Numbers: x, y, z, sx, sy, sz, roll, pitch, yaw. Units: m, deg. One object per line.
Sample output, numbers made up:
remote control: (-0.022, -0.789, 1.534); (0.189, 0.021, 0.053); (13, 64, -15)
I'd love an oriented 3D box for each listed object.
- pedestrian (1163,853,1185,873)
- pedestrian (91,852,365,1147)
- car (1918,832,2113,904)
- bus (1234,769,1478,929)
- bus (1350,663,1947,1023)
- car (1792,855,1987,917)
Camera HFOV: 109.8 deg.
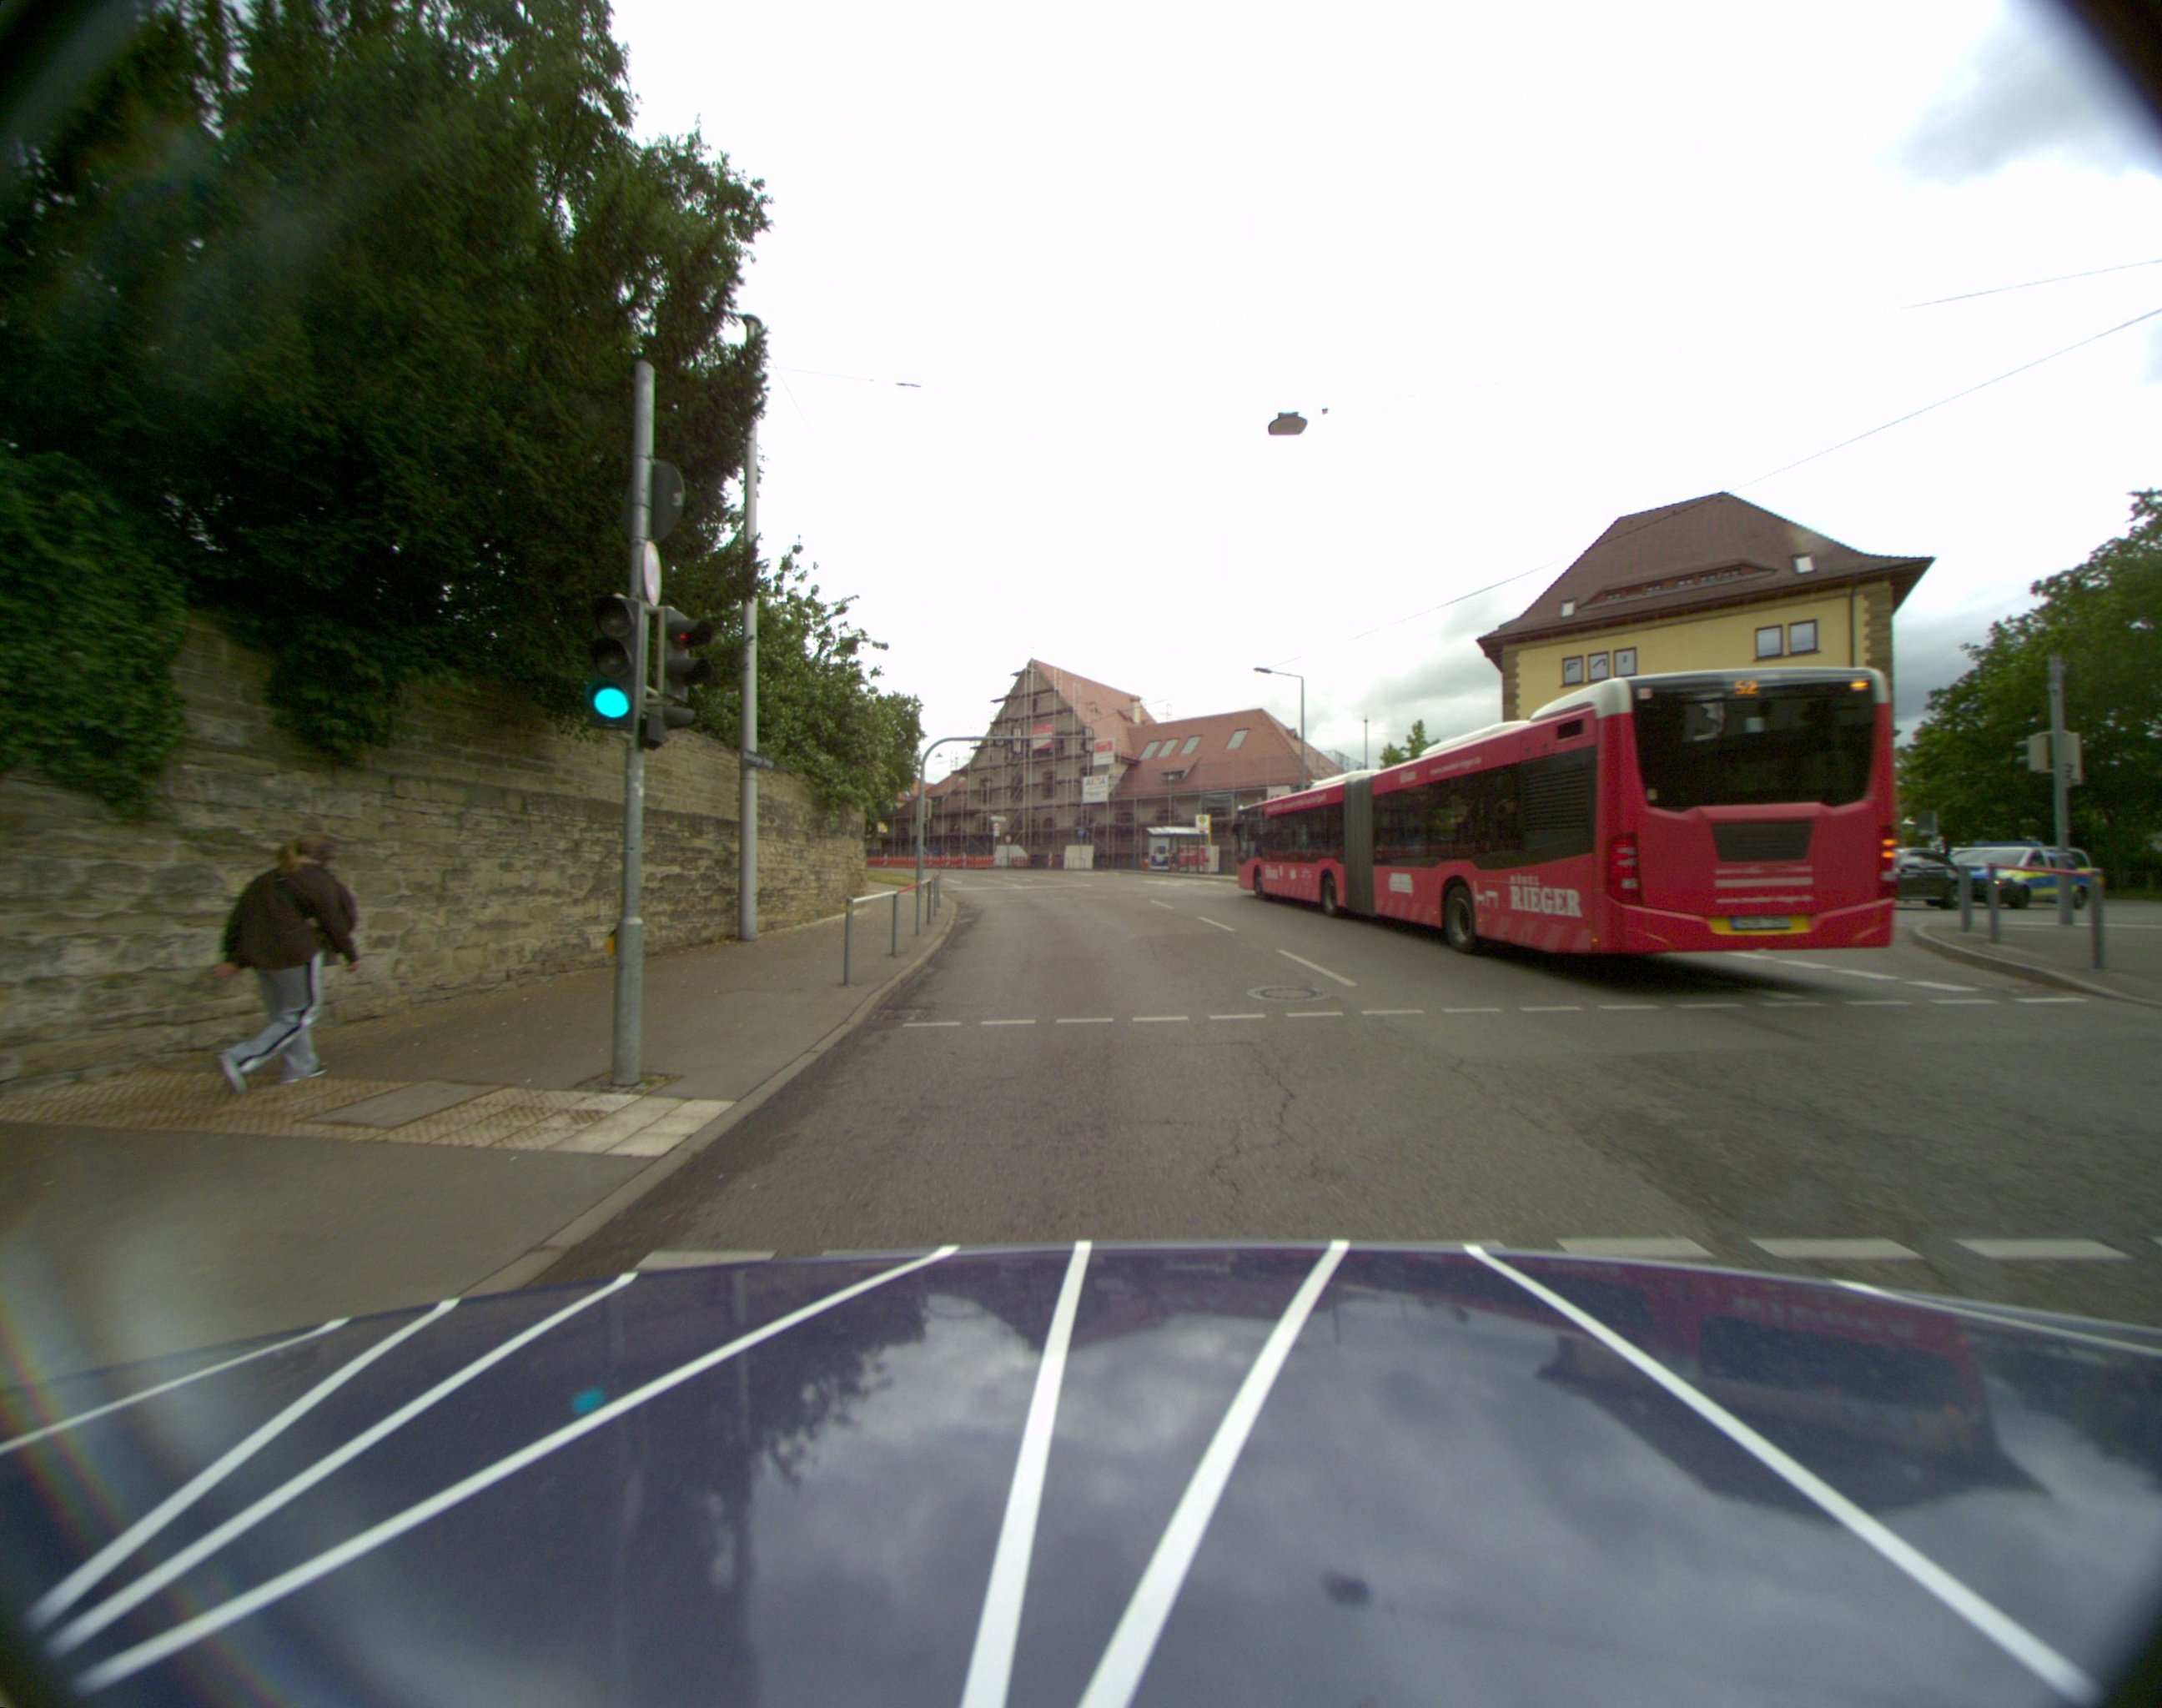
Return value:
pedestrian: (5.613, 0.537, 45.769); (0.937, 1.185, 0.903); (3, 0, -23)
pedestrian: (-4.943, 0.785, 4.461); (0.733, 1.567, 0.743); (2, 0, 0)
car: (28.220, 0.407, 22.933); (5.593, 2.002, 1.996); (1, 1, -20)
bus: (6.512, -0.113, 20.184); (2.664, 3.103, 10.017); (-2, 0, -1)
bus: (6.465, -0.098, 10.866); (2.663, 3.103, 8.294); (-2, 0, 3)
car: (21.771, 0.834, 20.491); (4.277, 1.504, 1.996); (1, 1, -19)
